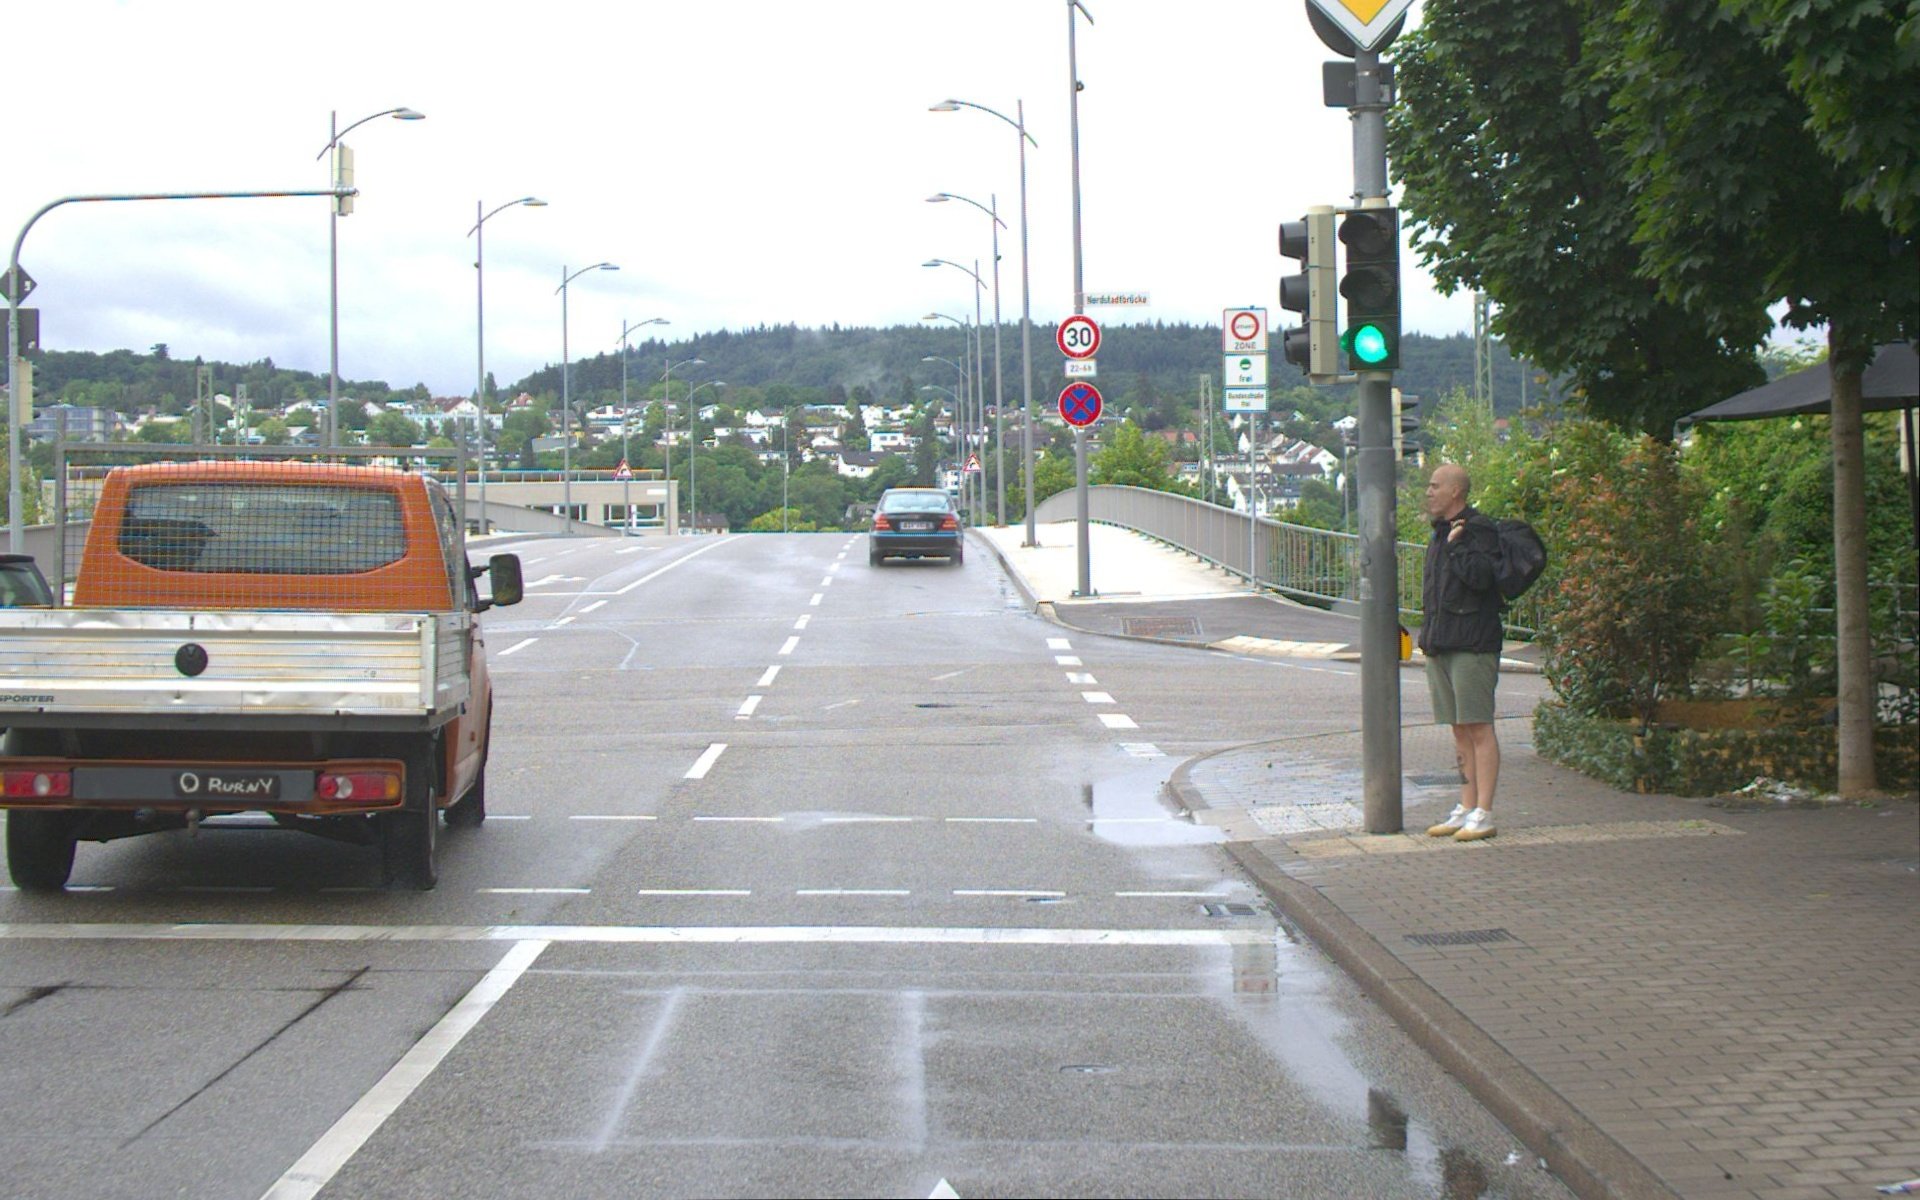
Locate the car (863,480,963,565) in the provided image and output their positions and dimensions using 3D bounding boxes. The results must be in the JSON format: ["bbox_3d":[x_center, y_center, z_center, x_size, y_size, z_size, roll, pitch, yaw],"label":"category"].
[{"bbox_3d":[-0.862,-1.400,63.142,1.754,1.474,4.000,-1,0,-1],"label":"car"}]

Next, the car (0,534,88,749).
[{"bbox_3d":[-7.970,0.312,25.451,2.662,1.542,1.528,-1,0,34],"label":"car"}]

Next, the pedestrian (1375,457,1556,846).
[{"bbox_3d":[2.438,0.242,16.628,0.733,1.835,0.631,-1,0,-2],"label":"pedestrian"}]

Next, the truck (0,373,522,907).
[{"bbox_3d":[-3.404,0.142,16.534,2.399,2.122,5.316,-1,0,-6],"label":"truck"}]

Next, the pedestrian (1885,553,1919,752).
[{"bbox_3d":[6.029,0.304,20.821,0.664,1.185,0.557,-1,0,-2],"label":"pedestrian"}]

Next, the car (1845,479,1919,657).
[{"bbox_3d":[12.849,-0.309,39.850,4.742,2.007,2.001,1,1,-24],"label":"car"}]
